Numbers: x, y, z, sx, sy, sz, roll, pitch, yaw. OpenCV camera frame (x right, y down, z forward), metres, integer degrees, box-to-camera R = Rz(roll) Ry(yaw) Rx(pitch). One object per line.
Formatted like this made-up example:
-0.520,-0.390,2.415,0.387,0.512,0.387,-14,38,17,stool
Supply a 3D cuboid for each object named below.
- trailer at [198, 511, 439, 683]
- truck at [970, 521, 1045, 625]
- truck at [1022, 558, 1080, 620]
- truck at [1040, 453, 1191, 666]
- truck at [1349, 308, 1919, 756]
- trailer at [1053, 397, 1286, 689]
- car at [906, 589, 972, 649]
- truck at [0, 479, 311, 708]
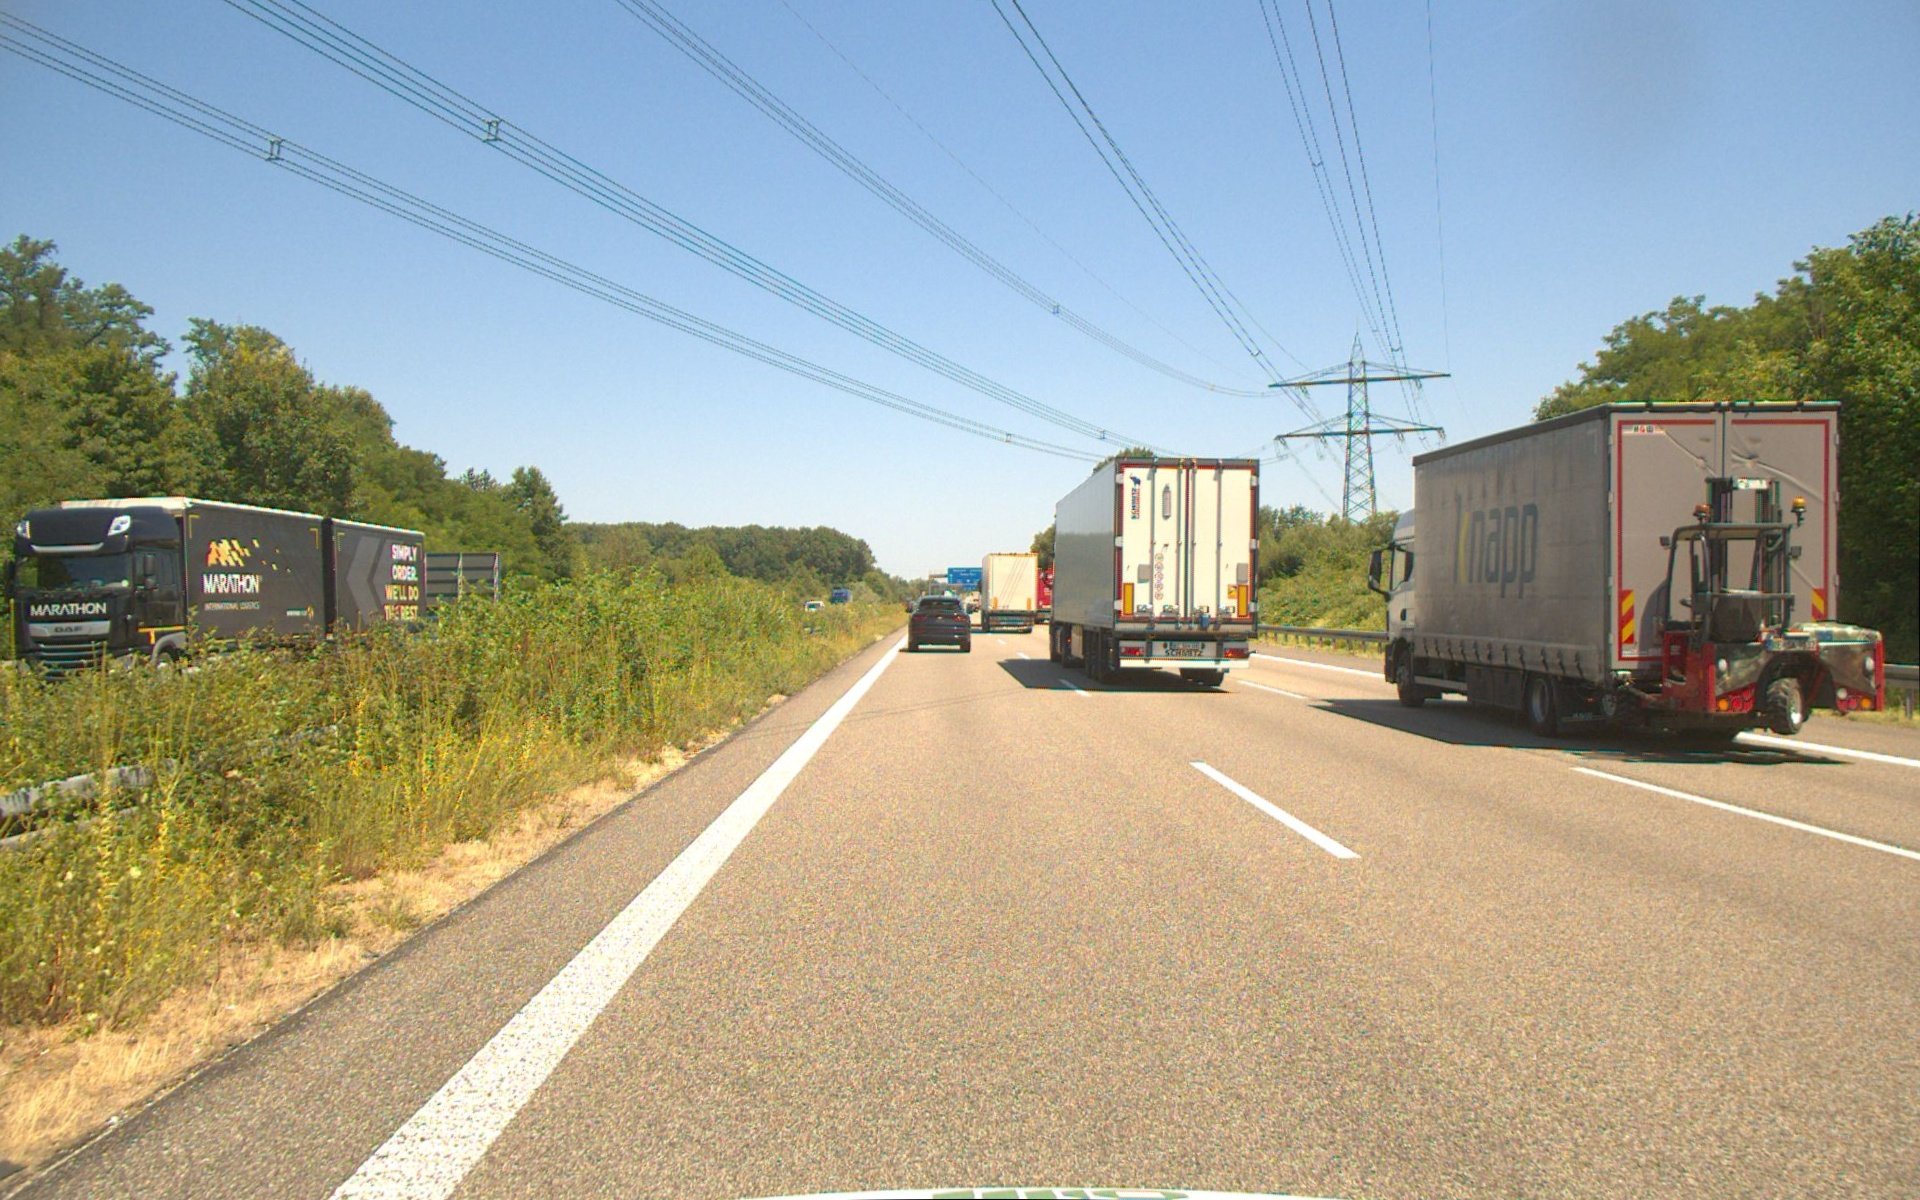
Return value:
-17.462,-0.072,45.960,2.710,4.167,10.296,-2,0,-1,trailer
2.444,-1.381,89.096,3.441,5.257,10.255,1,0,-2,truck
7.037,-0.843,130.076,3.441,4.571,13.246,1,0,-1,truck
3.836,-0.949,42.324,3.024,4.970,6.596,1,0,-1,truck
8.463,-0.643,22.004,3.499,4.319,11.648,1,0,-2,truck
3.967,-0.965,34.619,3.024,4.970,12.255,1,0,-1,trailer
-0.699,0.577,52.282,1.954,1.803,3.998,0,0,-3,car
-17.300,-0.094,35.675,2.702,4.194,10.213,-1,0,-1,truck
